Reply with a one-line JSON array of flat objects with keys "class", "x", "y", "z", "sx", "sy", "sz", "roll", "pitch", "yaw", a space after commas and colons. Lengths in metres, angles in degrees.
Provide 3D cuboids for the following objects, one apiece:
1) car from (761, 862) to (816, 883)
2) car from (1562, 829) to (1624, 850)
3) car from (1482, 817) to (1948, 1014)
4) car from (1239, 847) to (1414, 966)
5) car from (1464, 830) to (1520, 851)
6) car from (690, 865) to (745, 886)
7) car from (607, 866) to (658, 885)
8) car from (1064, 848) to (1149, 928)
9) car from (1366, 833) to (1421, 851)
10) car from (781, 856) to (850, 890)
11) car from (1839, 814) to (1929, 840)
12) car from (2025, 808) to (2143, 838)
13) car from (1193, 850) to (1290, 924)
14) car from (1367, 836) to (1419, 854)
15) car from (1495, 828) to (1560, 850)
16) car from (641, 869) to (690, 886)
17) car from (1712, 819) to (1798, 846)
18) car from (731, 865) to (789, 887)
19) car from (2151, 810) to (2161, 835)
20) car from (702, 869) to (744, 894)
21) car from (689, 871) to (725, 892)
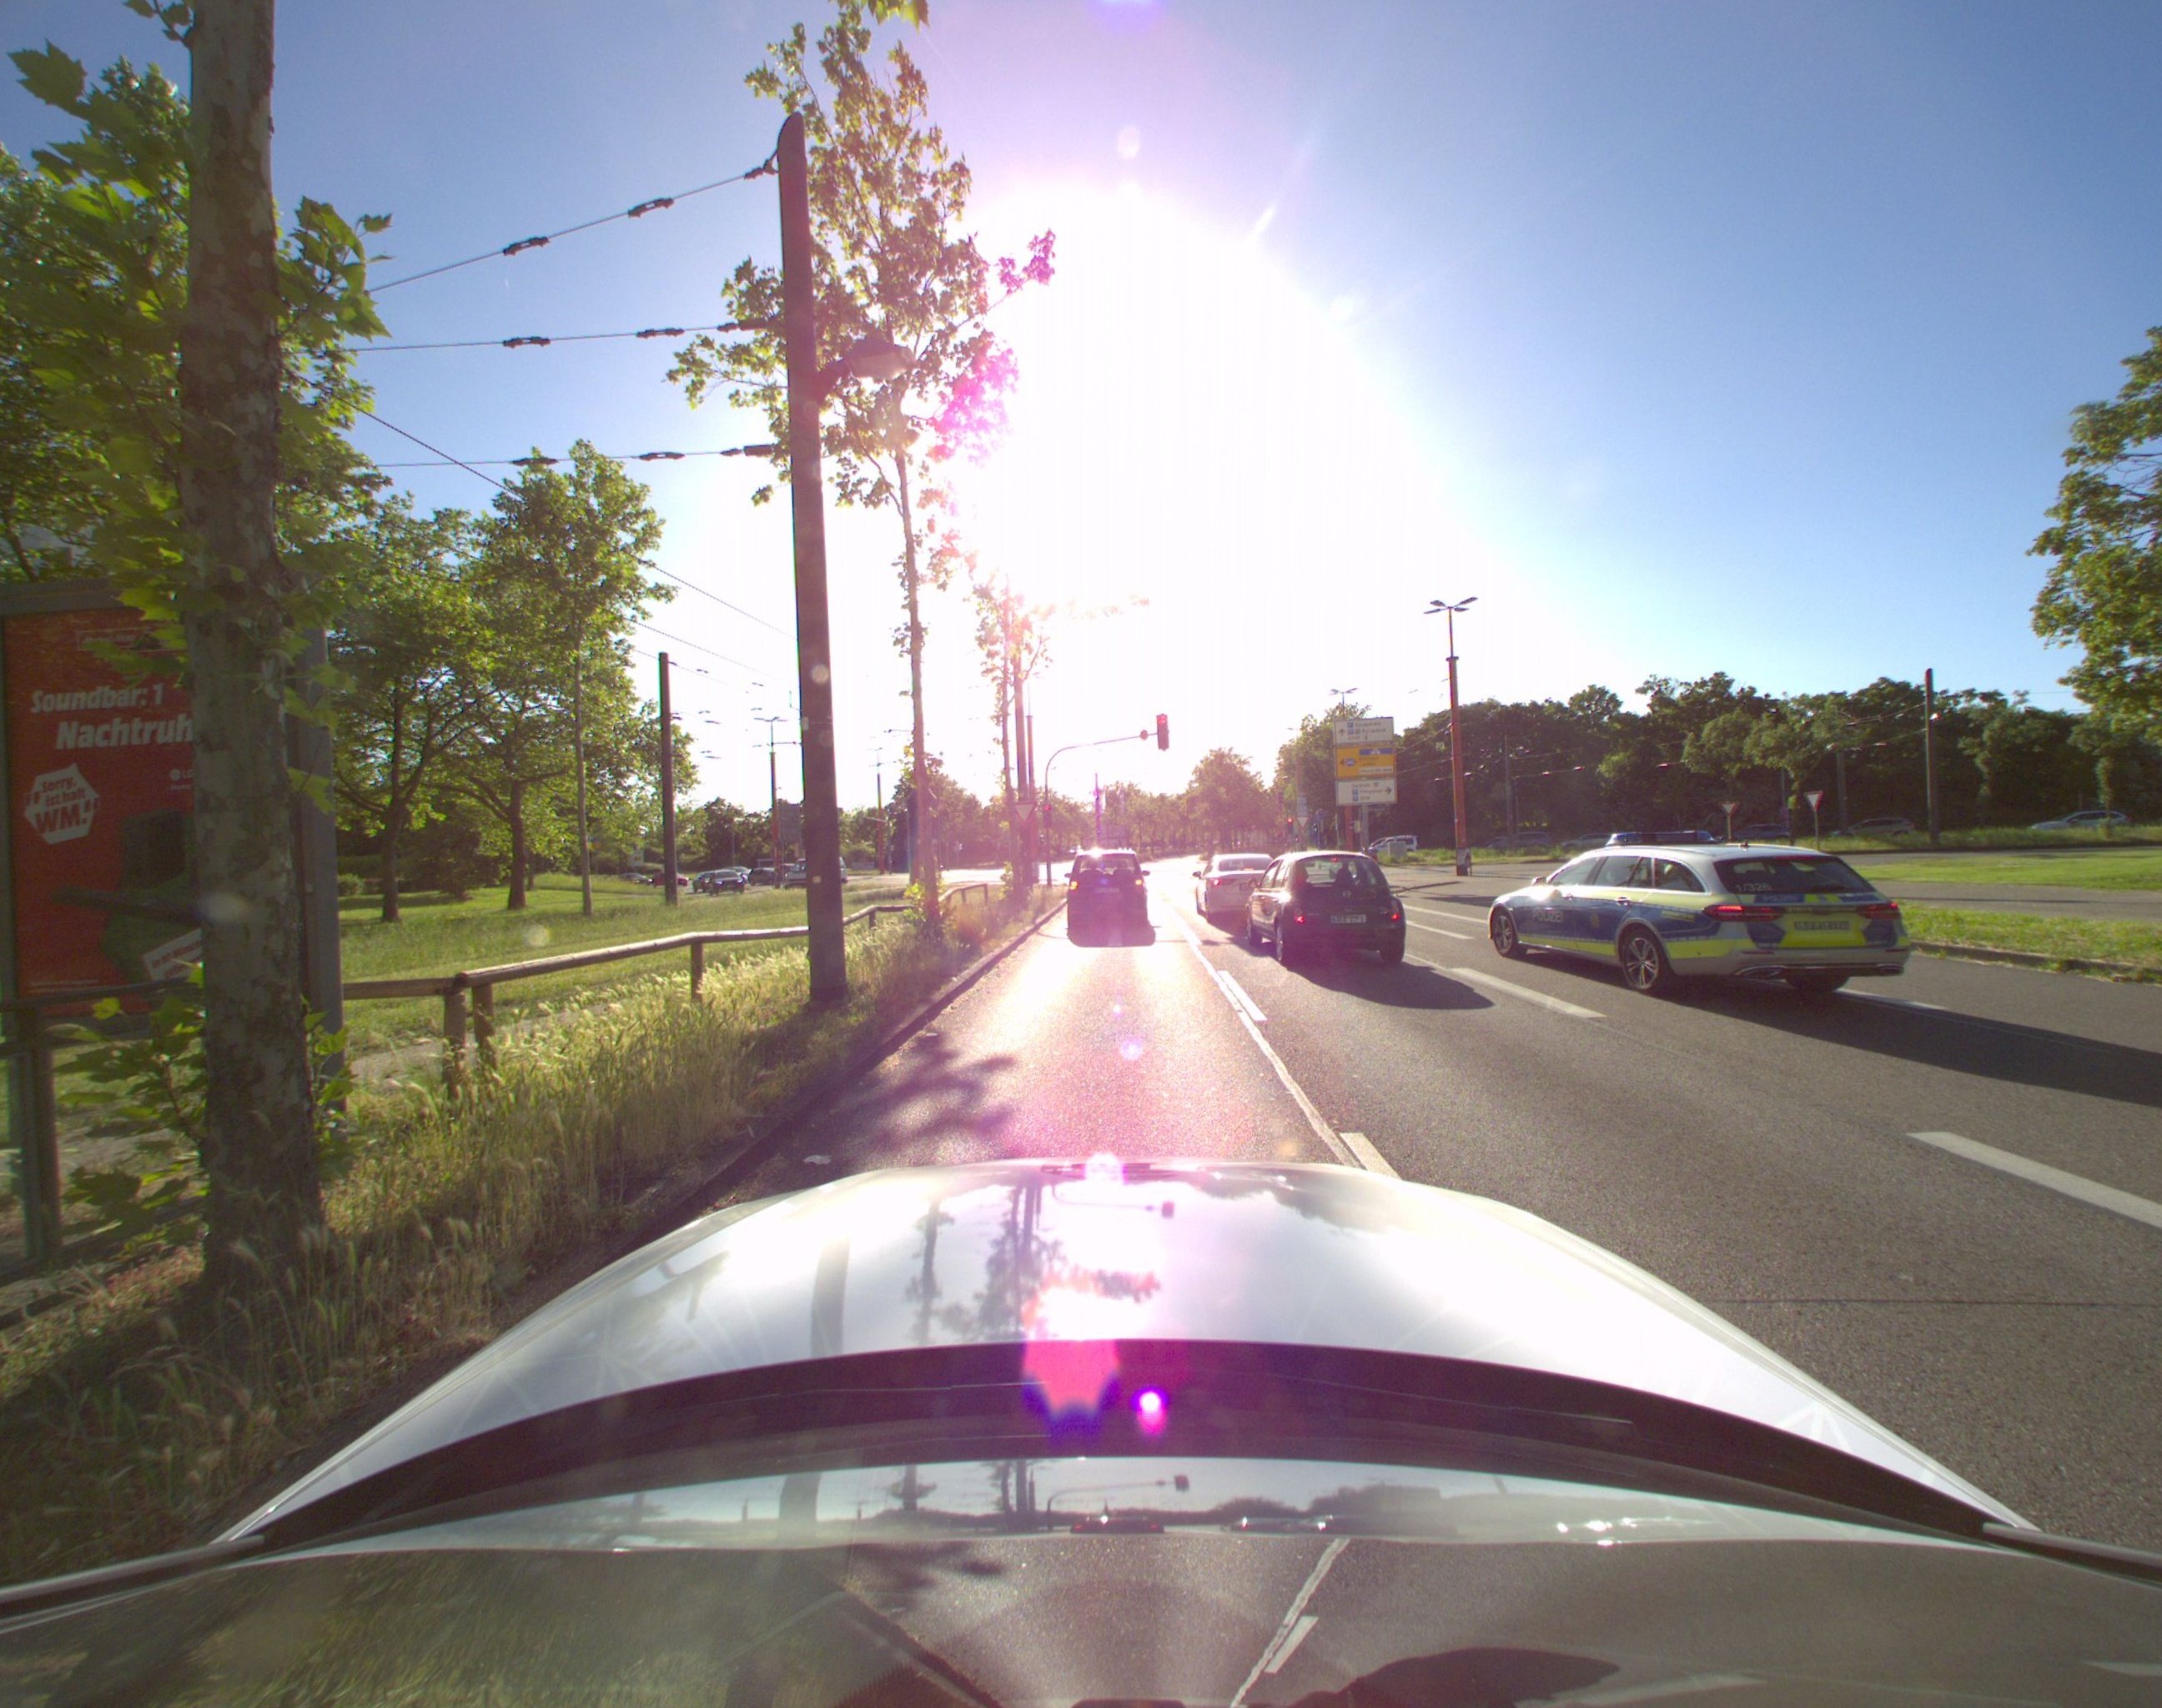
[{"class": "car", "x": -26.560, "y": 1.711, "z": 74.033, "sx": 4.447, "sy": 1.610, "sz": 1.910, "roll": -3, "pitch": 2, "yaw": 21}, {"class": "car", "x": 39.387, "y": -1.064, "z": 62.751, "sx": 3.949, "sy": 1.495, "sz": 1.872, "roll": -1, "pitch": 0, "yaw": 29}, {"class": "car", "x": 6.558, "y": 0.518, "z": 9.260, "sx": 1.886, "sy": 1.632, "sz": 4.504, "roll": -2, "pitch": 0, "yaw": 2}, {"class": "car", "x": 3.485, "y": 0.669, "z": 12.171, "sx": 1.632, "sy": 1.494, "sz": 3.505, "roll": -1, "pitch": 0, "yaw": 2}, {"class": "car", "x": 33.382, "y": -1.081, "z": 66.132, "sx": 3.949, "sy": 1.561, "sz": 1.911, "roll": -1, "pitch": -1, "yaw": 29}, {"class": "car", "x": -33.422, "y": 2.017, "z": 74.872, "sx": 4.447, "sy": 1.610, "sz": 1.910, "roll": -3, "pitch": 2, "yaw": 21}, {"class": "car", "x": -44.680, "y": 2.139, "z": 81.135, "sx": 4.447, "sy": 1.610, "sz": 1.911, "roll": -2, "pitch": 3, "yaw": 21}, {"class": "car", "x": 0.580, "y": 0.709, "z": 18.348, "sx": 1.704, "sy": 1.603, "sz": 3.351, "roll": -1, "pitch": 0, "yaw": 2}, {"class": "car", "x": 25.695, "y": -0.949, "z": 66.986, "sx": 3.949, "sy": 1.338, "sz": 1.739, "roll": -1, "pitch": 0, "yaw": 28}, {"class": "car", "x": -14.655, "y": 1.003, "z": 45.214, "sx": 1.813, "sy": 1.780, "sz": 4.577, "roll": -1, "pitch": 0, "yaw": 8}, {"class": "car", "x": 54.321, "y": -1.809, "z": 55.199, "sx": 3.949, "sy": 1.528, "sz": 1.872, "roll": -1, "pitch": -1, "yaw": 29}, {"class": "car", "x": 59.384, "y": -1.795, "z": 48.318, "sx": 3.949, "sy": 1.581, "sz": 1.884, "roll": -1, "pitch": -1, "yaw": 30}, {"class": "car", "x": 3.574, "y": 0.692, "z": 18.788, "sx": 1.671, "sy": 1.475, "sz": 4.135, "roll": -1, "pitch": 0, "yaw": 4}, {"class": "car", "x": 26.865, "y": -0.775, "z": 70.093, "sx": 3.949, "sy": 1.476, "sz": 1.800, "roll": -1, "pitch": 0, "yaw": 28}, {"class": "car", "x": 34.049, "y": -1.111, "z": 62.214, "sx": 4.310, "sy": 1.559, "sz": 1.883, "roll": -1, "pitch": 0, "yaw": 27}, {"class": "car", "x": -39.265, "y": 2.233, "z": 76.997, "sx": 4.000, "sy": 1.436, "sz": 1.825, "roll": -2, "pitch": 3, "yaw": 21}, {"class": "car", "x": 46.164, "y": -1.445, "z": 55.869, "sx": 4.220, "sy": 1.627, "sz": 1.941, "roll": -1, "pitch": -1, "yaw": 29}, {"class": "car", "x": -27.871, "y": 1.925, "z": 70.767, "sx": 4.447, "sy": 1.610, "sz": 1.910, "roll": -3, "pitch": 2, "yaw": 21}, {"class": "car", "x": 66.327, "y": -1.953, "z": 47.713, "sx": 3.948, "sy": 1.486, "sz": 1.903, "roll": -1, "pitch": -1, "yaw": 31}, {"class": "car", "x": -24.336, "y": 1.821, "z": 55.309, "sx": 1.907, "sy": 1.543, "sz": 4.454, "roll": -1, "pitch": 0, "yaw": -33}, {"class": "car", "x": -28.753, "y": 2.086, "z": 62.498, "sx": 1.907, "sy": 1.543, "sz": 4.454, "roll": -1, "pitch": 0, "yaw": -33}]
